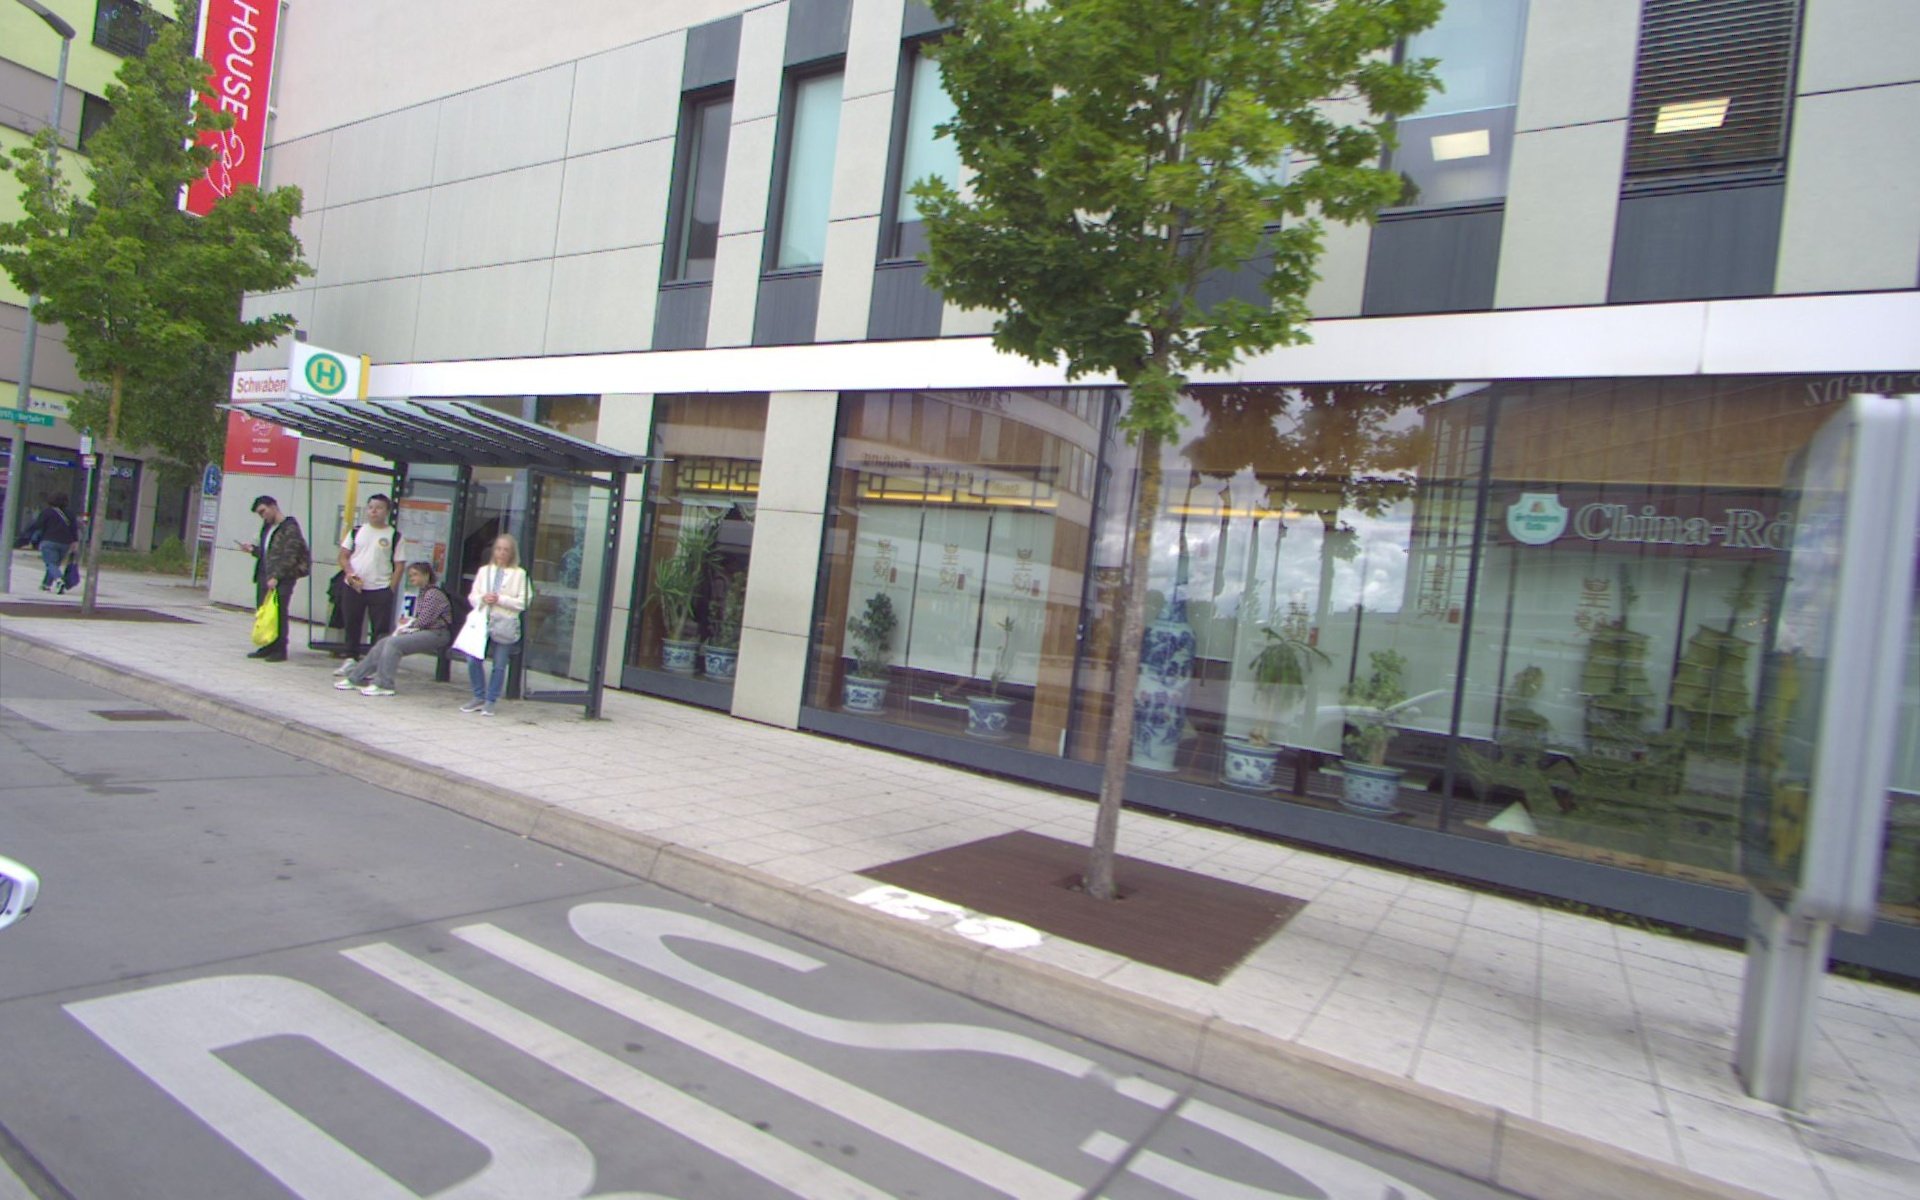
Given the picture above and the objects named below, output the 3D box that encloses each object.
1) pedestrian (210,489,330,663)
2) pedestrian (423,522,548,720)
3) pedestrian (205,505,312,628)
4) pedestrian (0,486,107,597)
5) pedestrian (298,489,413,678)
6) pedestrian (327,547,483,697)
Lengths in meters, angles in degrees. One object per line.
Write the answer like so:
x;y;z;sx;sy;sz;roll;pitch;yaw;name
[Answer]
-7.207;-0.243;10.516;0.721;1.705;0.720;7;1;36;pedestrian
-4.116;0.176;8.733;0.721;1.611;0.579;7;1;37;pedestrian
-10.021;-0.467;14.380;0.791;1.602;0.870;7;0;30;pedestrian
-14.516;-0.921;16.083;0.999;1.602;0.948;7;0;30;pedestrian
-6.064;-0.162;10.088;0.843;1.791;0.579;7;1;37;pedestrian
-5.182;0.211;9.421;0.720;1.275;0.944;6;1;28;pedestrian
